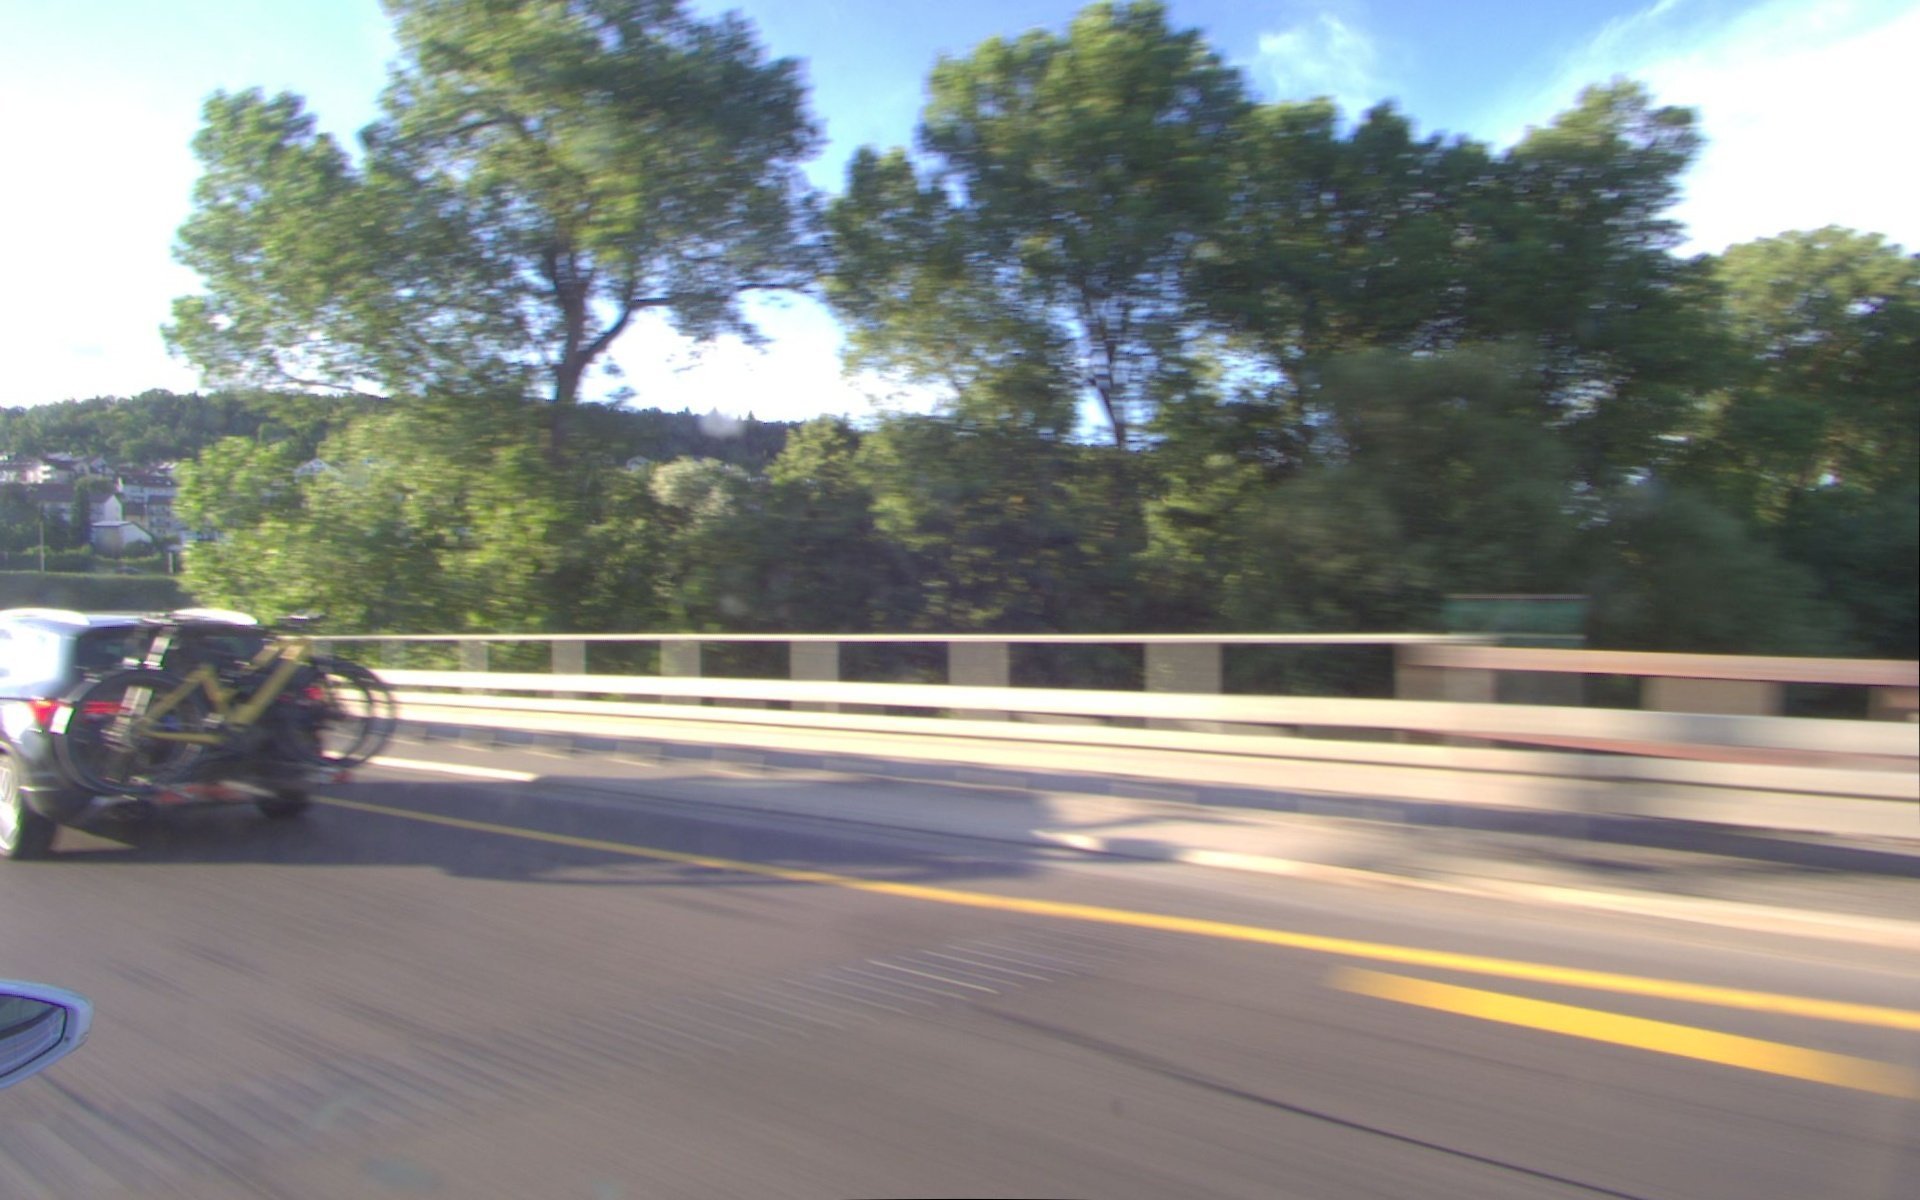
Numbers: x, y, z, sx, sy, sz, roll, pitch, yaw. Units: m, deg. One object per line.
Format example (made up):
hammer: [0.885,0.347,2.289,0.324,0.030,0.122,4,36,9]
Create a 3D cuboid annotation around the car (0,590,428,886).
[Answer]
car: [-6.343,0.790,7.569,4.893,1.620,1.872,-1,0,31]
